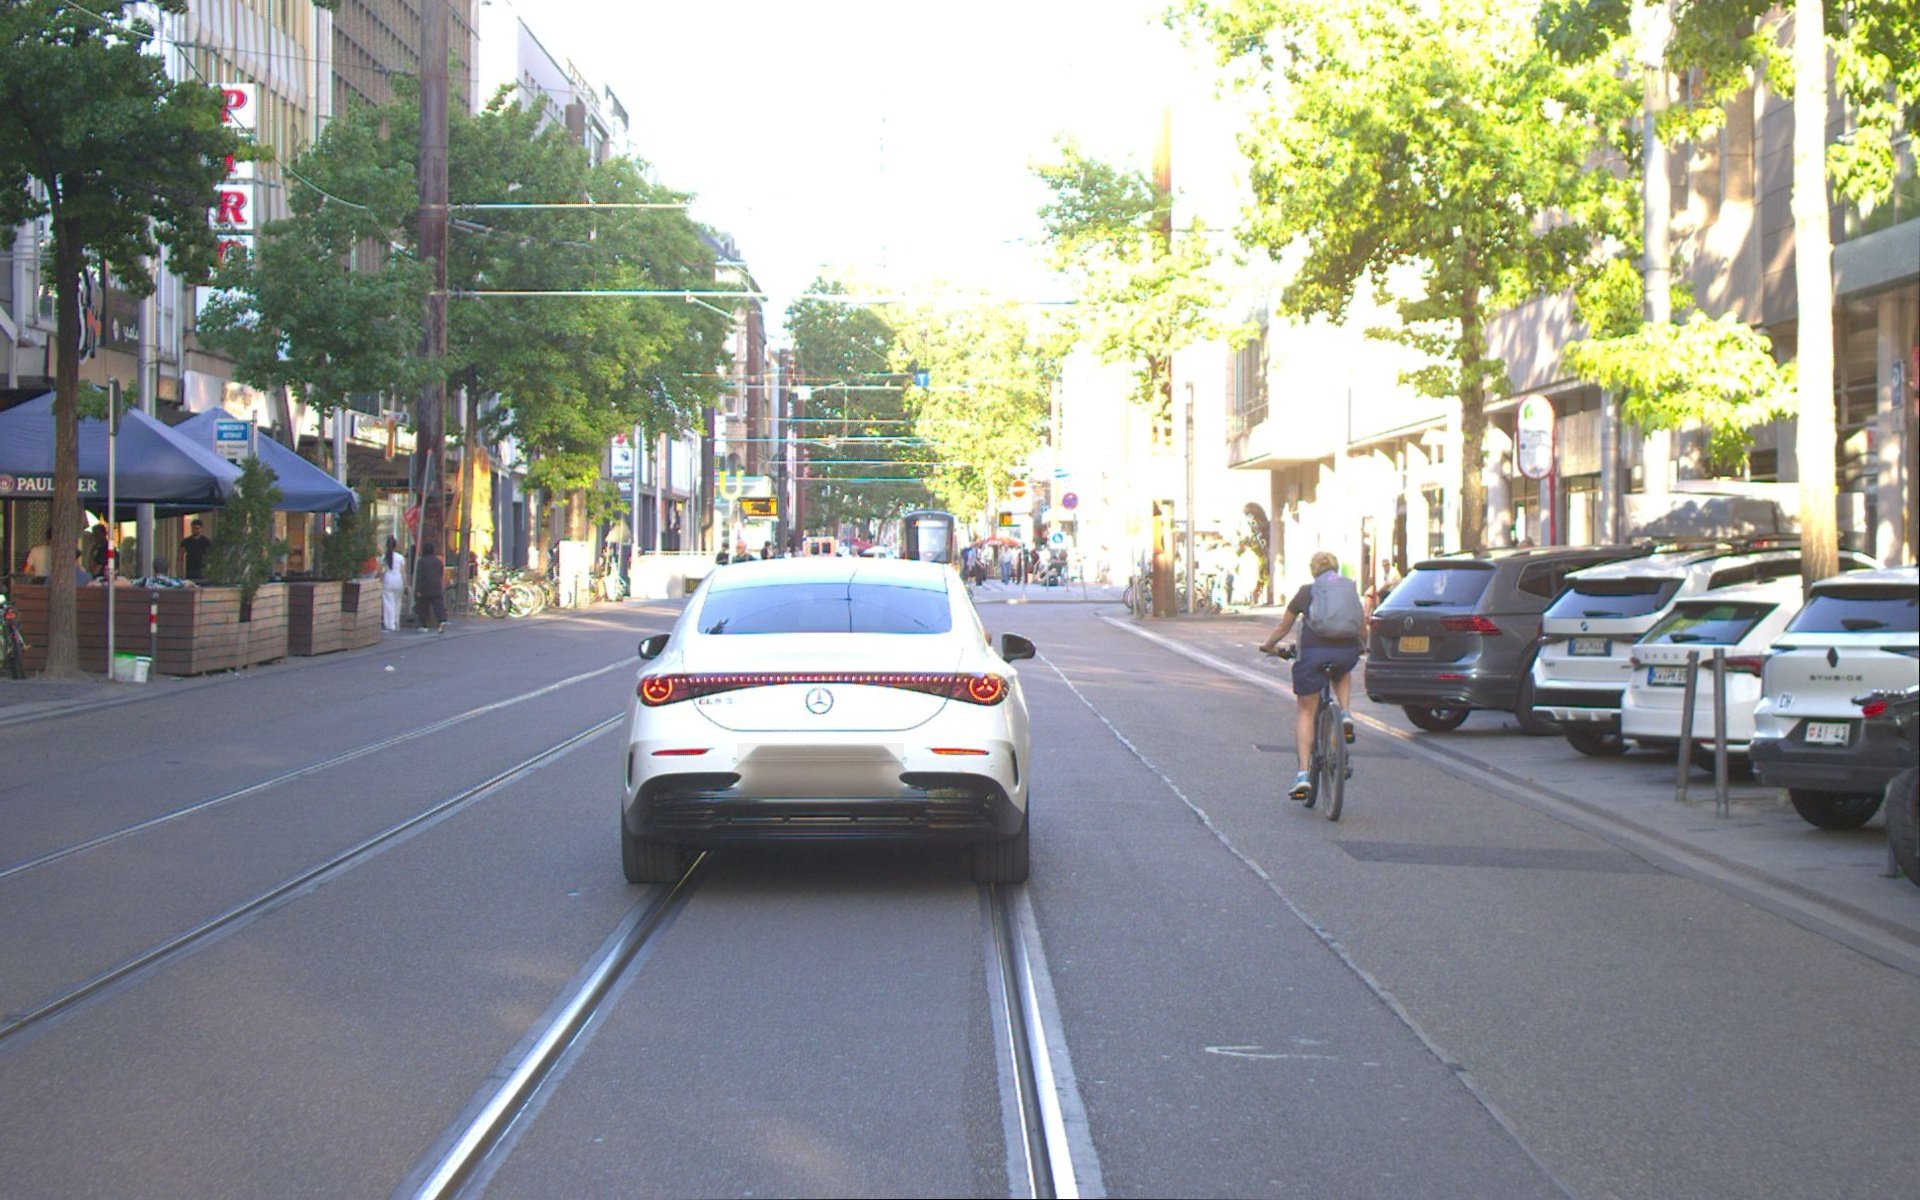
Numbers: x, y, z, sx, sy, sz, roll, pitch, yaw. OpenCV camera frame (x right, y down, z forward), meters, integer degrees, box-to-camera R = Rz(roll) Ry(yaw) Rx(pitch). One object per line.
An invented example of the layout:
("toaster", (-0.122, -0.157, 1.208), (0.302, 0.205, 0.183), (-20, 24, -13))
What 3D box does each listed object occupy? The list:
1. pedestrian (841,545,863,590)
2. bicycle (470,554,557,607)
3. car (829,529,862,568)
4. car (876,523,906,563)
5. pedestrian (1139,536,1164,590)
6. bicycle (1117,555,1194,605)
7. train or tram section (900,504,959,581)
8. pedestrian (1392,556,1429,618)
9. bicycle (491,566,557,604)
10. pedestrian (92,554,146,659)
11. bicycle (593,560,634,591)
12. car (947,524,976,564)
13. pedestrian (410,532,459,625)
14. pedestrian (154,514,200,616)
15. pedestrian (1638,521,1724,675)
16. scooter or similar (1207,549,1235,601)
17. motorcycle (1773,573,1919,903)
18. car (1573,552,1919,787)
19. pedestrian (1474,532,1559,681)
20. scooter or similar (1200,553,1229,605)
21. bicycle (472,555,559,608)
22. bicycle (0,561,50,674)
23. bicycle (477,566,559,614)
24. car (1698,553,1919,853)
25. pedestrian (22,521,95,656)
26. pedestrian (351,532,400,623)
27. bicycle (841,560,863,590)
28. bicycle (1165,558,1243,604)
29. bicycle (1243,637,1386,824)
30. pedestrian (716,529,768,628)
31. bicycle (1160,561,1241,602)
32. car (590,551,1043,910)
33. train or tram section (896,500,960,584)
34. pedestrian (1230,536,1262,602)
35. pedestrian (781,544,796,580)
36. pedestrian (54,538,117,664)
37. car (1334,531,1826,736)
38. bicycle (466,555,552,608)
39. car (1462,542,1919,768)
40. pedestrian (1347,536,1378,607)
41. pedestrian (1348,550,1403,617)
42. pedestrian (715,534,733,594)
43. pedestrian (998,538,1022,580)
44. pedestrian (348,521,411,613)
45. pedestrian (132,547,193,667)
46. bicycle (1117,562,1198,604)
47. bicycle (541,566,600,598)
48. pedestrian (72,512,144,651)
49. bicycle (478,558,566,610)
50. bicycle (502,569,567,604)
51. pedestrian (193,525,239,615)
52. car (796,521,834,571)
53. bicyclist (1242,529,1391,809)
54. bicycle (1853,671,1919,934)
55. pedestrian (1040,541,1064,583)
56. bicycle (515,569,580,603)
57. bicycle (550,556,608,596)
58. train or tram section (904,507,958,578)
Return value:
("pedestrian", (-4.304, -1.301, 137.423), (0.800, 1.776, 0.849), (2, 1, -1))
("bicycle", (-9.462, -0.416, 72.886), (1.788, 1.073, 0.377), (2, 1, -4))
("car", (-7.349, -3.287, 220.286), (1.910, 2.452, 5.275), (0, 1, 0))
("car", (-5.071, -4.160, 252.317), (2.099, 2.887, 5.275), (0, 1, 0))
("pedestrian", (6.338, -1.237, 113.935), (0.748, 1.779, 0.767), (-1, 1, -1))
("bicycle", (5.144, -0.529, 90.457), (1.908, 1.277, 0.610), (-2, 1, -11))
("train or tram section", (-1.420, -2.731, 163.569), (2.694, 3.504, 12.546), (0, 1, 0))
("pedestrian", (8.825, -0.259, 67.304), (0.666, 1.194, 0.784), (1, 1, 5))
("bicycle", (-10.257, -0.353, 80.855), (1.493, 0.838, 0.344), (2, 1, 1))
("pedestrian", (-9.947, 0.070, 40.664), (0.494, 1.223, 0.535), (1, 1, -1))
("bicycle", (-11.434, -0.803, 113.395), (0.719, 1.006, 2.038), (0, 1, 14))
("car", (0.126, -4.105, 252.617), (2.099, 2.887, 5.285), (0, 1, 0))
("pedestrian", (-8.921, -0.373, 58.392), (0.622, 1.545, 0.852), (3, 1, 0))
("pedestrian", (-13.497, -0.606, 59.273), (0.597, 1.739, 0.671), (2, 1, 1))
("pedestrian", (8.249, -0.021, 39.345), (0.689, 1.725, 0.631), (-1, 1, 42))
("scooter or similar", (6.449, -0.617, 84.958), (0.491, 1.273, 0.660), (-2, 1, -11))
("motorcycle", (5.040, 0.614, 16.897), (2.313, 1.504, 0.858), (-3, 0, -44))
("car", (6.665, 0.430, 24.762), (4.145, 1.494, 1.689), (-2, 1, -24))
("pedestrian", (6.386, 0.072, 39.440), (0.680, 1.679, 0.695), (-1, 1, 34))
("scooter or similar", (6.331, -0.532, 85.584), (0.527, 1.273, 0.660), (-2, 1, -11))
("bicycle", (-9.473, -0.400, 73.343), (1.788, 1.073, 0.377), (2, 1, -4))
("bicycle", (-10.283, 0.170, 37.198), (0.697, 1.117, 2.087), (3, 1, -18))
("bicycle", (-9.005, -0.202, 70.021), (1.596, 0.927, 0.377), (2, 1, 7))
("car", (6.494, 0.490, 20.052), (4.147, 1.566, 1.854), (-3, 1, -33))
("pedestrian", (-10.881, -0.138, 41.515), (0.673, 1.601, 0.720), (1, 1, -1))
("pedestrian", (-9.901, -0.392, 58.265), (0.622, 1.504, 0.833), (3, 1, 0))
("bicycle", (-4.313, -0.993, 137.421), (0.800, 1.138, 2.257), (2, 1, -2))
("bicycle", (6.354, -0.491, 89.644), (1.908, 1.152, 0.610), (-2, 1, -11))
("bicycle", (2.168, 0.764, 20.842), (0.719, 0.992, 2.058), (2, 1, 9))
("pedestrian", (-4.053, -0.408, 63.886), (0.841, 1.795, 0.790), (2, 1, 1))
("bicycle", (6.487, -0.499, 92.769), (2.113, 1.092, 0.610), (0, 0, -13))
("car", (-0.614, 0.514, 16.425), (1.857, 1.450, 4.175), (1, 1, 0))
("train or tram section", (-1.378, -2.534, 151.016), (2.694, 3.504, 12.546), (0, 1, 0))
("pedestrian", (8.148, -0.887, 97.907), (0.701, 1.806, 1.033), (-3, 1, 0))
("pedestrian", (-7.700, -1.700, 154.682), (0.660, 1.593, 0.573), (0, 1, -1))
("pedestrian", (-10.010, 0.006, 39.350), (0.549, 1.424, 0.583), (1, 1, -1))
("car", (5.695, 0.267, 31.408), (4.342, 1.646, 1.694), (-3, 1, -31))
("bicycle", (-10.121, -0.411, 77.124), (1.846, 1.137, 0.377), (2, 1, 1))
("car", (6.300, 0.383, 27.551), (4.235, 1.582, 1.884), (-3, 1, -31))
("pedestrian", (9.416, -0.666, 80.447), (0.637, 1.647, 0.781), (0, 1, 1))
("pedestrian", (8.548, -0.347, 70.814), (0.833, 1.372, 0.778), (0, 1, -22))
("pedestrian", (-7.634, -1.159, 111.024), (0.571, 1.922, 0.541), (0, 1, -4))
("pedestrian", (2.141, -1.749, 146.065), (0.960, 1.779, 0.804), (-1, 1, -1))
("pedestrian", (-11.173, -0.634, 66.172), (0.850, 1.735, 0.834), (2, 1, 20))
("pedestrian", (-9.113, 0.076, 39.298), (0.549, 1.352, 0.583), (1, 1, -1))
("bicycle", (5.371, -0.461, 93.442), (2.113, 1.092, 0.610), (1, 0, -11))
("bicycle", (-10.243, -0.476, 90.429), (1.493, 0.780, 0.344), (2, 1, 1))
("pedestrian", (-10.736, -0.234, 43.328), (0.717, 1.719, 0.675), (1, 1, -1))
("bicycle", (-9.488, -0.354, 74.547), (1.846, 1.073, 0.377), (2, 1, -4))
("bicycle", (-10.088, -0.330, 81.509), (1.493, 0.780, 0.344), (2, 1, 1))
("pedestrian", (-12.819, -0.517, 59.260), (0.597, 1.527, 0.671), (2, 1, 1))
("car", (-8.505, -3.172, 201.504), (1.993, 2.887, 5.275), (0, 1, 0))
("bicyclist", (2.142, 0.395, 20.575), (0.778, 1.607, 0.912), (2, 1, 9))
("bicycle", (4.948, 0.849, 15.333), (1.890, 1.116, 0.667), (-2, 0, -29))
("pedestrian", (3.940, -1.631, 147.839), (0.960, 1.779, 0.804), (-1, 1, -1))
("bicycle", (-9.855, -0.332, 82.200), (1.493, 0.780, 0.344), (2, 1, 1))
("bicycle", (-10.210, -0.639, 92.194), (1.492, 1.025, 0.345), (1, 1, -10))
("train or tram section", (-1.466, -2.912, 175.409), (2.694, 3.504, 11.143), (0, 1, 0))
